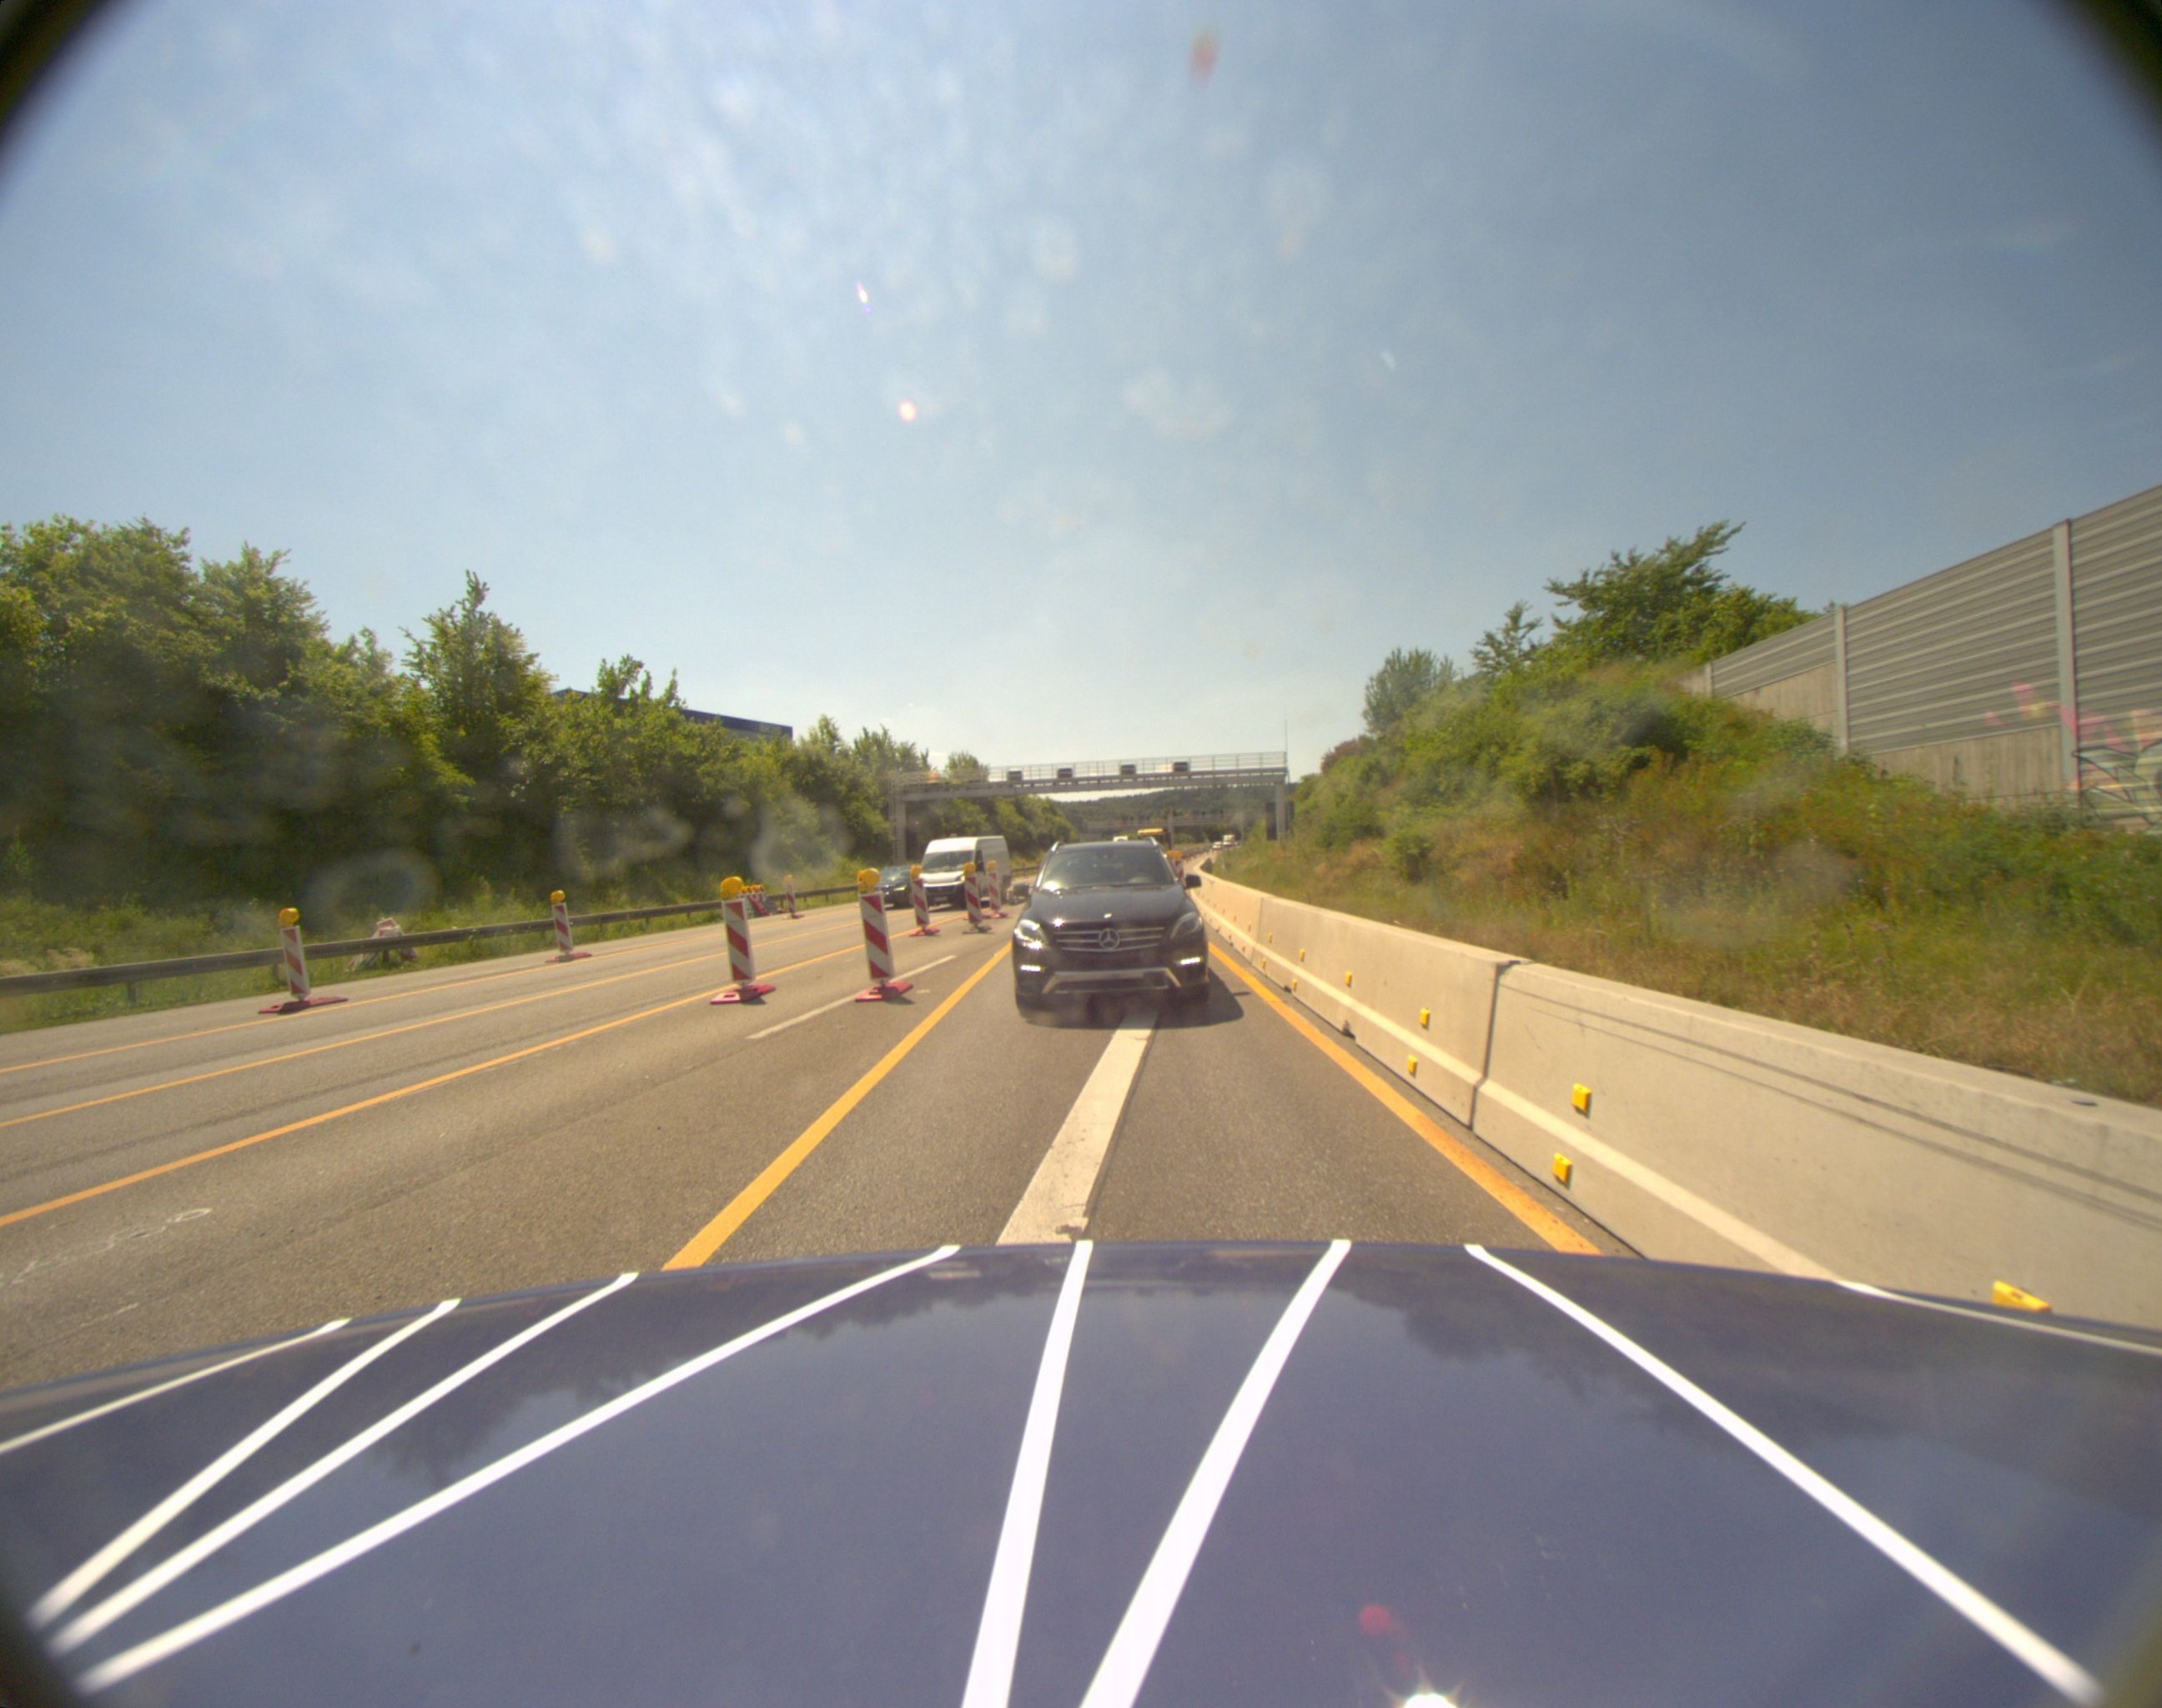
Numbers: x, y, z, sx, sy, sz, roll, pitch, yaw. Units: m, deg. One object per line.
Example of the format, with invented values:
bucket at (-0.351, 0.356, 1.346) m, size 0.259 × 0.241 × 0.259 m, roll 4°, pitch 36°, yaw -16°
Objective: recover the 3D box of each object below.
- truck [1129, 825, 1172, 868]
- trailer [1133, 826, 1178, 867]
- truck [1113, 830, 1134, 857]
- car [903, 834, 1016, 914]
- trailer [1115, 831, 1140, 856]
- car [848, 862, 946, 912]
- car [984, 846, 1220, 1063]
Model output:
truck at (6.698, -0.686, 72.269) m, size 3.227 × 3.639 × 7.088 m, roll -4°, pitch 0°, yaw 10°
trailer at (8.214, -0.691, 80.837) m, size 3.234 × 3.645 × 17.436 m, roll -3°, pitch -1°, yaw 10°
truck at (6.850, -1.653, 121.718) m, size 2.532 × 3.927 × 5.602 m, roll -4°, pitch 0°, yaw 9°
car at (-4.269, 0.636, 28.134) m, size 2.270 × 2.521 × 6.587 m, roll -3°, pitch 0°, yaw 7°
trailer at (7.994, -1.741, 129.001) m, size 2.545 × 3.929 × 13.877 m, roll -4°, pitch 0°, yaw 9°
car at (-7.227, 1.232, 30.521) m, size 2.023 × 1.653 × 5.239 m, roll -3°, pitch 0°, yaw 7°
car at (0.380, 0.805, 8.402) m, size 1.819 × 1.685 × 4.495 m, roll -3°, pitch 0°, yaw 6°
